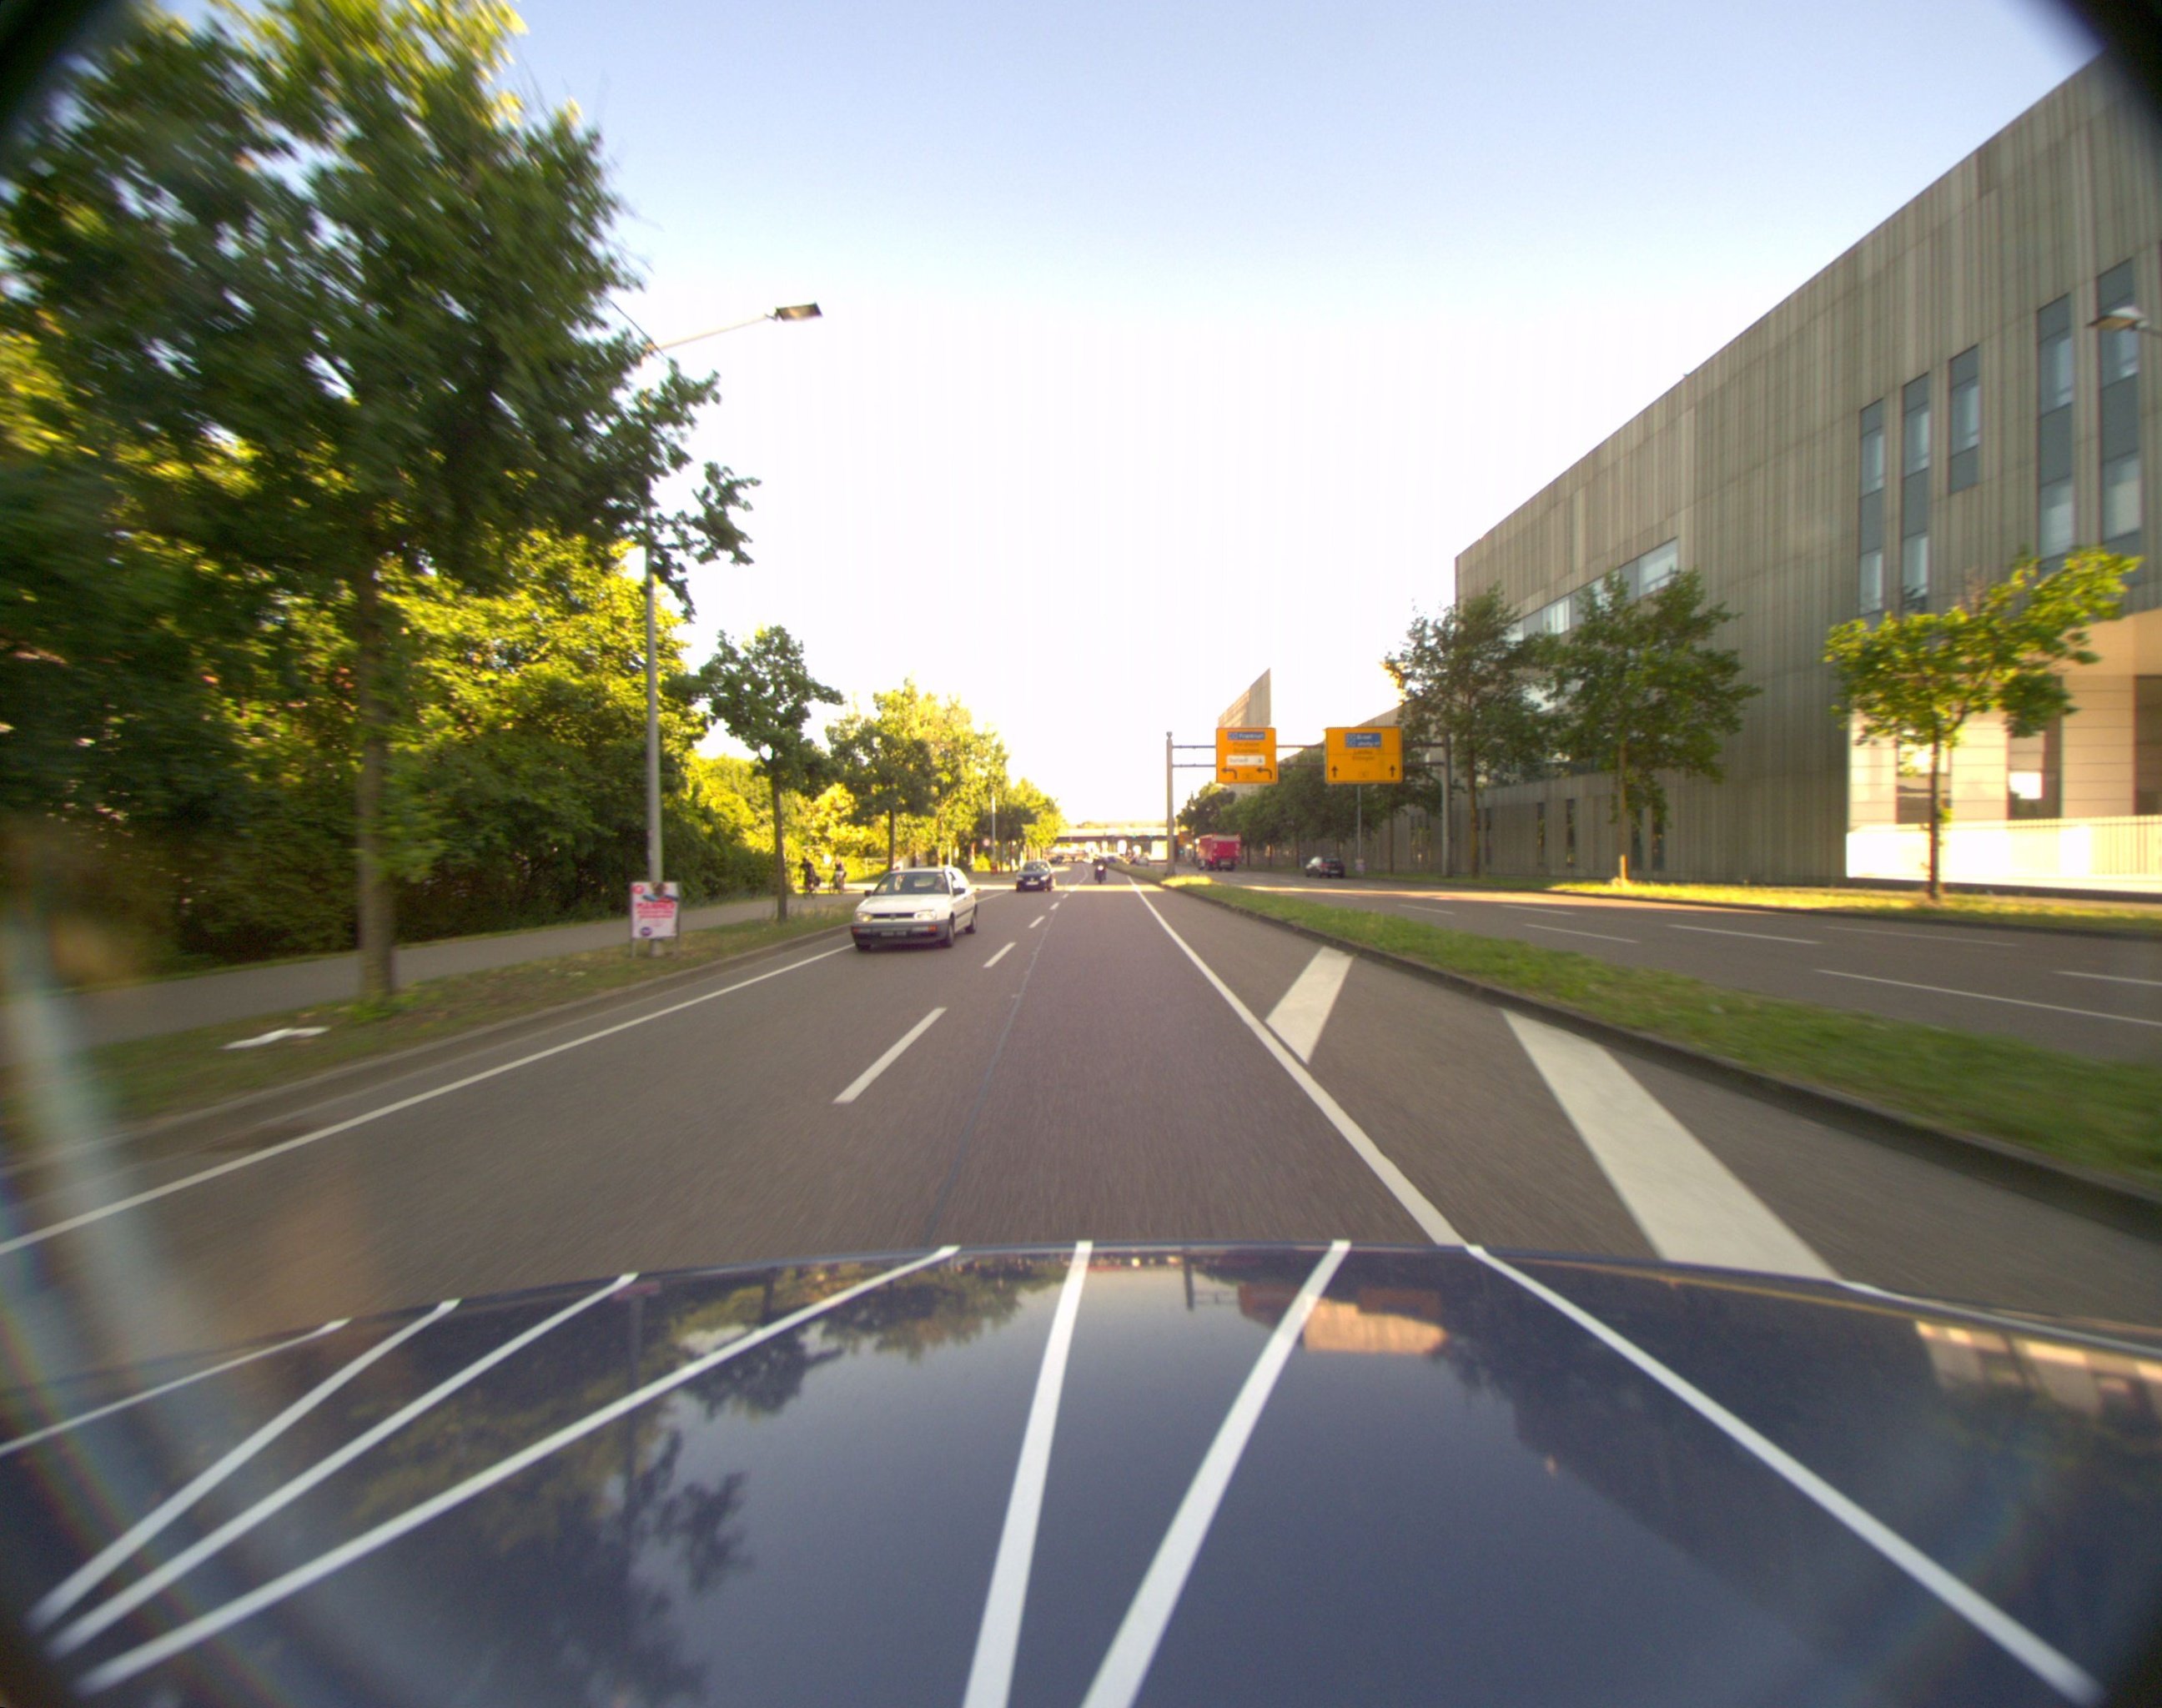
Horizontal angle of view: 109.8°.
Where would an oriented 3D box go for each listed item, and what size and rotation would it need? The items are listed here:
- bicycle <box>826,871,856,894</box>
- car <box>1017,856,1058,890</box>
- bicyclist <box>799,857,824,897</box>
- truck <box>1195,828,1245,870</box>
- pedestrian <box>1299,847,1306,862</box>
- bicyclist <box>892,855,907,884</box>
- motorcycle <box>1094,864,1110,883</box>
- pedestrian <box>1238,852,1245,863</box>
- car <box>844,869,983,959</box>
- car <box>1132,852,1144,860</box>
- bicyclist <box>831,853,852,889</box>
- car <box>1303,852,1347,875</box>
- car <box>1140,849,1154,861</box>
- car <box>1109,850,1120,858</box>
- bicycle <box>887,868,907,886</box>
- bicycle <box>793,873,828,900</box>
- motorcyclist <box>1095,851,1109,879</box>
[{"bbox_3d":[-10.865,1.266,34.426,0.618,0.968,2.059,-1,0,2],"label":"bicycle"},{"bbox_3d":[-2.033,0.909,36.453,1.726,1.490,4.214,-2,-1,-1],"label":"car"},{"bbox_3d":[-10.471,0.886,29.563,0.614,1.493,0.848,-1,1,2],"label":"bicyclist"},{"bbox_3d":[13.555,-0.456,74.882,3.006,3.789,10.088,-1,0,0],"label":"truck"},{"bbox_3d":[25.456,0.060,87.146,0.604,1.757,0.649,-1,1,1],"label":"pedestrian"},{"bbox_3d":[-10.675,0.904,44.704,0.604,1.723,0.848,-1,1,2],"label":"bicyclist"},{"bbox_3d":[1.136,1.046,41.502,0.749,0.977,2.140,-1,1,-1],"label":"motorcycle"},{"bbox_3d":[22.771,0.517,107.772,0.698,1.619,0.725,-1,1,0],"label":"pedestrian"},{"bbox_3d":[-3.010,1.030,14.494,1.614,1.390,4.039,-2,-1,2],"label":"car"},{"bbox_3d":[10.551,0.398,141.555,1.930,1.510,4.000,0,0,0],"label":"car"},{"bbox_3d":[-10.870,0.759,34.508,0.604,1.569,0.848,-1,1,2],"label":"bicyclist"},{"bbox_3d":[16.345,0.611,51.164,1.600,1.504,3.866,-1,0,-2],"label":"car"},{"bbox_3d":[10.726,0.153,123.883,1.998,1.805,4.401,0,0,1],"label":"car"},{"bbox_3d":[6.501,0.035,148.054,1.841,1.510,3.951,0,0,-1],"label":"car"},{"bbox_3d":[-10.684,1.304,44.215,0.618,0.968,2.059,-1,0,2],"label":"bicycle"},{"bbox_3d":[-10.470,1.246,29.457,0.618,0.968,1.822,-1,0,2],"label":"bicycle"},{"bbox_3d":[1.131,0.591,41.642,0.734,1.503,0.919,-1,1,-1],"label":"motorcyclist"}]
